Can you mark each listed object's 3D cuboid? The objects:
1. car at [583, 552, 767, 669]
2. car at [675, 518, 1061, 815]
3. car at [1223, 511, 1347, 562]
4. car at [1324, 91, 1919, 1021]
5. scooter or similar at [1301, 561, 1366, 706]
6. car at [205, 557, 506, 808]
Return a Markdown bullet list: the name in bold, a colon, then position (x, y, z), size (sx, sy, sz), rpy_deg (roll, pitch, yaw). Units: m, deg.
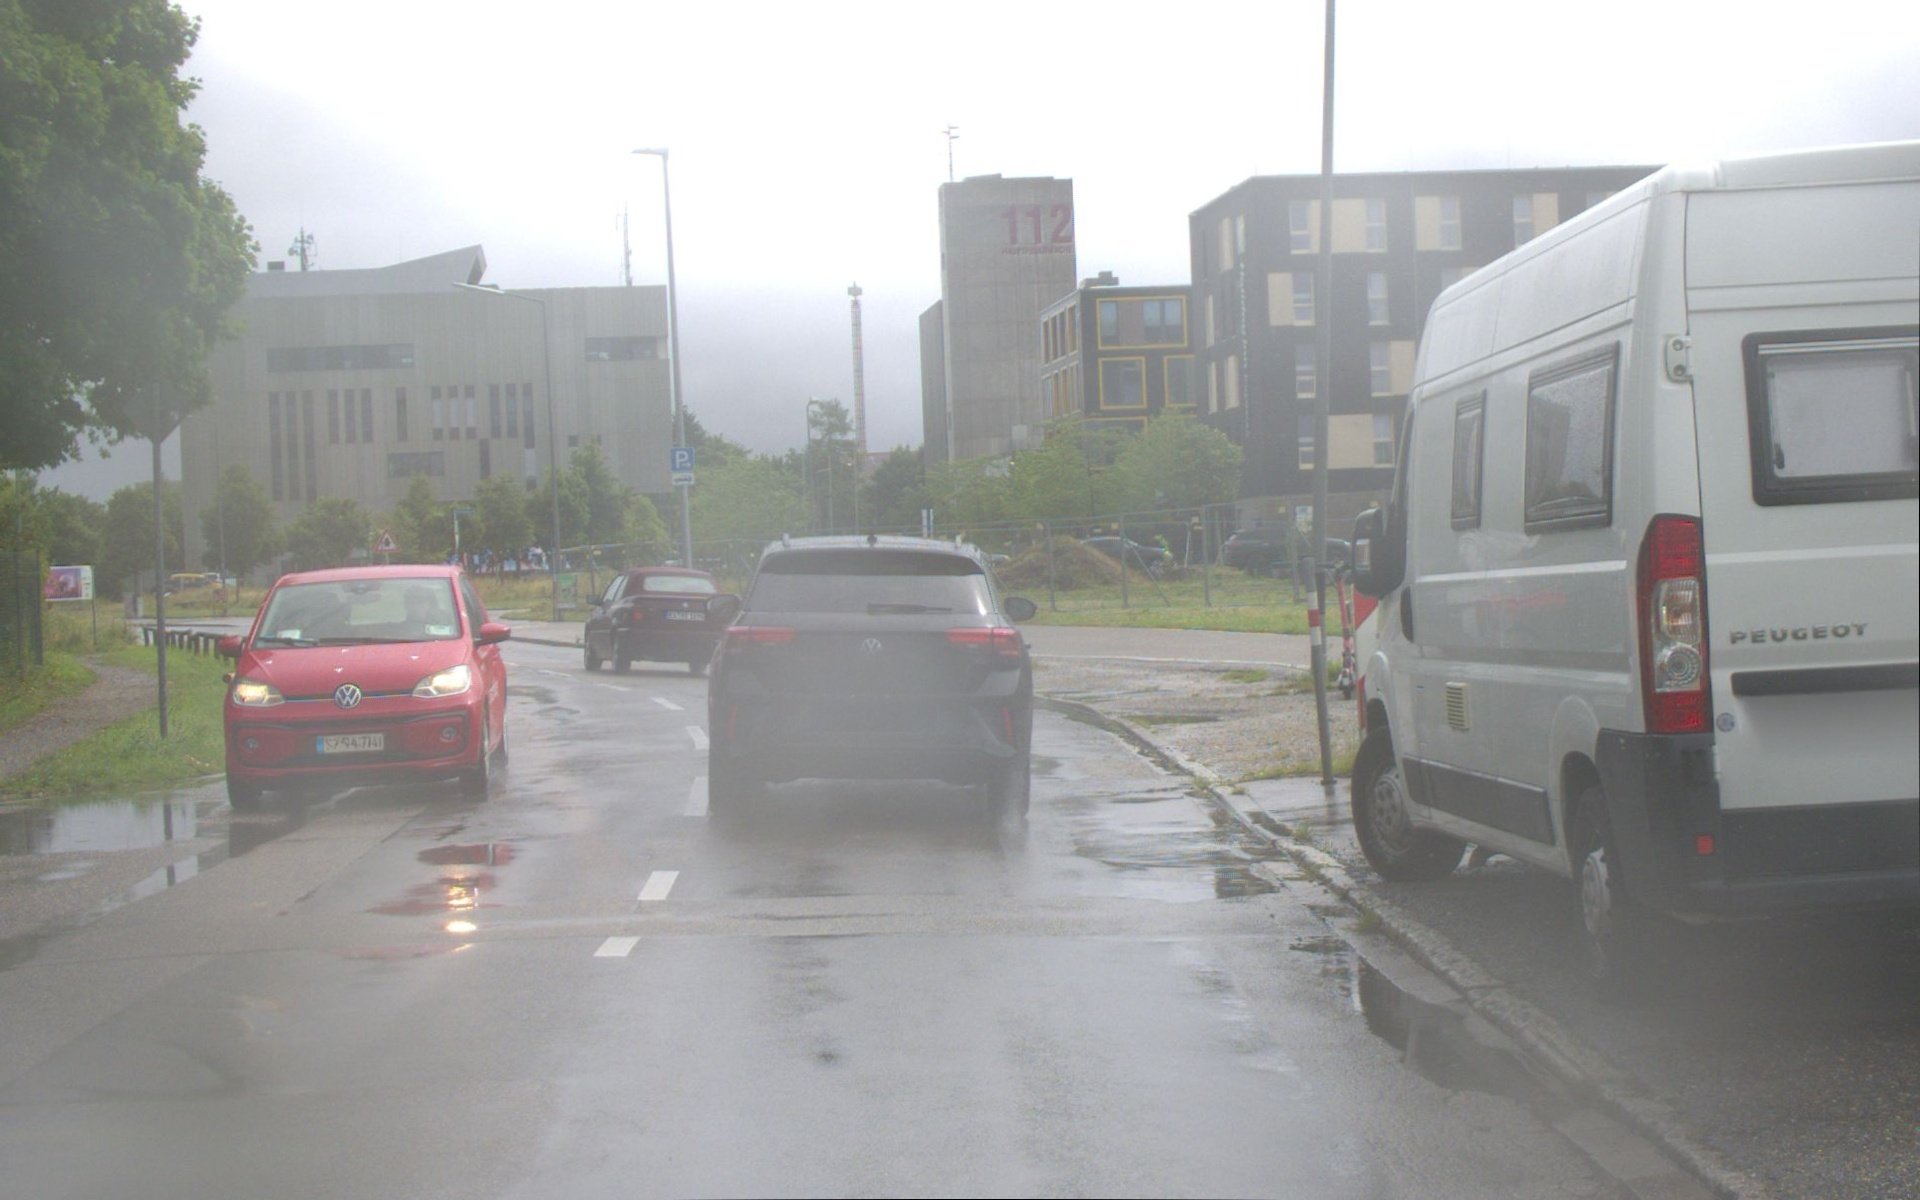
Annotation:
- **car**: position (-3.888, 0.117, 46.332), size (1.841, 1.437, 4.001), rpy_deg (-2, 1, -13)
- **car**: position (-0.507, 0.326, 19.888), size (1.987, 1.515, 4.000), rpy_deg (1, 1, -1)
- **car**: position (11.606, -2.262, 122.793), size (3.986, 1.722, 2.001), rpy_deg (1, 0, -10)
- **car**: position (2.771, -0.184, 12.273), size (2.092, 2.464, 5.948), rpy_deg (-3, 1, -1)
- **scooter or similar**: position (3.276, 0.278, 30.100), size (0.491, 1.210, 1.340), rpy_deg (-2, 1, 8)
- **car**: position (-3.888, 0.478, 22.556), size (1.656, 1.463, 3.390), rpy_deg (-2, 1, -6)
